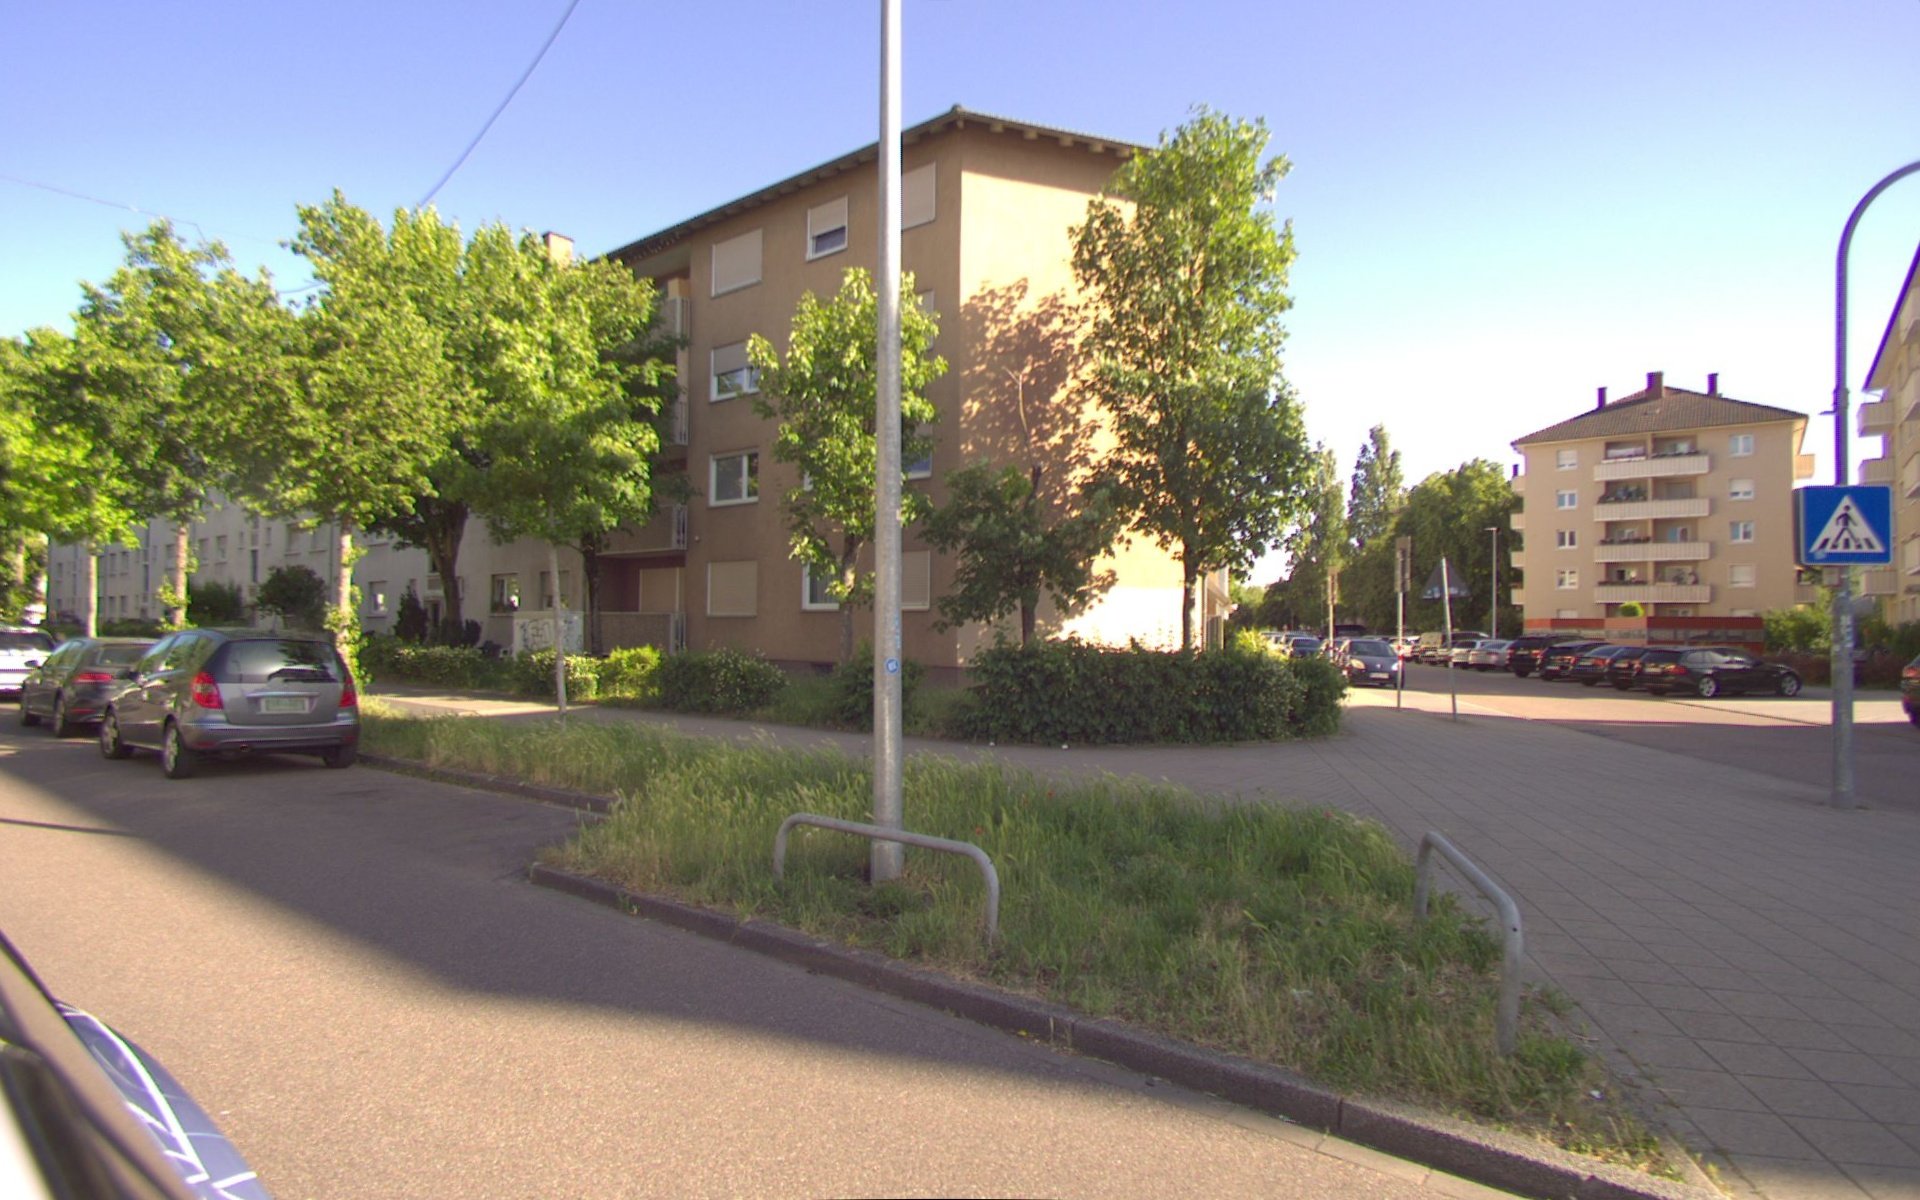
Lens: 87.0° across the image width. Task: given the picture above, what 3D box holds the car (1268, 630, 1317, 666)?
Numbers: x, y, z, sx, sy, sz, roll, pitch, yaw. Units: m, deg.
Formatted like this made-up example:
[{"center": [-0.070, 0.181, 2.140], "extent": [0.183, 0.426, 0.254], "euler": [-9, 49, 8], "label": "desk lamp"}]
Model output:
[{"center": [17.374, 2.477, 52.999], "extent": [1.825, 1.770, 3.988], "euler": [1, -2, 10], "label": "car"}]

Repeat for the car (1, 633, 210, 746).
[{"center": [-13.204, 1.265, 15.561], "extent": [4.086, 1.405, 1.644], "euler": [0, 0, 38], "label": "car"}]

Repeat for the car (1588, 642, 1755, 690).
[{"center": [22.212, 2.039, 31.681], "extent": [3.936, 1.320, 2.004], "euler": [-1, 0, -8], "label": "car"}]

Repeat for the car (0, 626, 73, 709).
[{"center": [-20.233, 1.363, 21.248], "extent": [3.994, 1.538, 1.700], "euler": [0, 0, 38], "label": "car"}]

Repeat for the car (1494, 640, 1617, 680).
[{"center": [23.978, 2.399, 40.781], "extent": [3.933, 1.264, 2.005], "euler": [-3, 1, -13], "label": "car"}]

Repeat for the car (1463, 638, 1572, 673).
[{"center": [25.429, 2.521, 46.233], "extent": [3.937, 1.408, 2.004], "euler": [-1, 0, -8], "label": "car"}]

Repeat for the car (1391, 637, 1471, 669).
[{"center": [28.854, 3.249, 62.122], "extent": [3.949, 1.851, 1.997], "euler": [0, 0, 5], "label": "car"}]

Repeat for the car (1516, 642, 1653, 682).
[{"center": [23.257, 2.279, 37.769], "extent": [3.936, 1.320, 2.004], "euler": [-1, 0, -8], "label": "car"}]

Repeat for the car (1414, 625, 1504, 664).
[{"center": [27.310, 2.416, 55.428], "extent": [3.936, 2.029, 2.004], "euler": [-1, 0, -8], "label": "car"}]

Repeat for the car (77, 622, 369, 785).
[{"center": [-8.807, 1.090, 11.984], "extent": [4.103, 1.574, 1.703], "euler": [0, -3, 38], "label": "car"}]

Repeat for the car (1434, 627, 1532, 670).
[{"center": [26.564, 2.446, 51.432], "extent": [3.938, 2.029, 2.003], "euler": [-1, 0, -6], "label": "car"}]

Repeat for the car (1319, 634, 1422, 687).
[{"center": [12.748, 1.840, 31.711], "extent": [1.885, 1.526, 3.993], "euler": [1, -2, 5], "label": "car"}]

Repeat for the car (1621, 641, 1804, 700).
[{"center": [21.230, 1.953, 28.623], "extent": [3.934, 1.412, 2.005], "euler": [-1, 0, -11], "label": "car"}]

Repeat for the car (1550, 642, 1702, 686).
[{"center": [22.670, 2.149, 34.517], "extent": [3.936, 1.320, 2.004], "euler": [-1, 0, -8], "label": "car"}]

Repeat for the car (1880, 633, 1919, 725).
[{"center": [19.394, 1.404, 18.550], "extent": [3.931, 1.664, 2.006], "euler": [-1, -2, -19], "label": "car"}]

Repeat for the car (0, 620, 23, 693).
[{"center": [-24.335, 1.304, 24.545], "extent": [4.218, 1.692, 1.687], "euler": [0, -3, 38], "label": "car"}]

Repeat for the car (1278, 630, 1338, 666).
[{"center": [16.224, 2.223, 47.362], "extent": [1.978, 1.475, 3.987], "euler": [-2, -1, 11], "label": "car"}]

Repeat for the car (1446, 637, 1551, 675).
[{"center": [25.983, 2.684, 48.908], "extent": [3.943, 1.652, 2.000], "euler": [0, 0, -1], "label": "car"}]
